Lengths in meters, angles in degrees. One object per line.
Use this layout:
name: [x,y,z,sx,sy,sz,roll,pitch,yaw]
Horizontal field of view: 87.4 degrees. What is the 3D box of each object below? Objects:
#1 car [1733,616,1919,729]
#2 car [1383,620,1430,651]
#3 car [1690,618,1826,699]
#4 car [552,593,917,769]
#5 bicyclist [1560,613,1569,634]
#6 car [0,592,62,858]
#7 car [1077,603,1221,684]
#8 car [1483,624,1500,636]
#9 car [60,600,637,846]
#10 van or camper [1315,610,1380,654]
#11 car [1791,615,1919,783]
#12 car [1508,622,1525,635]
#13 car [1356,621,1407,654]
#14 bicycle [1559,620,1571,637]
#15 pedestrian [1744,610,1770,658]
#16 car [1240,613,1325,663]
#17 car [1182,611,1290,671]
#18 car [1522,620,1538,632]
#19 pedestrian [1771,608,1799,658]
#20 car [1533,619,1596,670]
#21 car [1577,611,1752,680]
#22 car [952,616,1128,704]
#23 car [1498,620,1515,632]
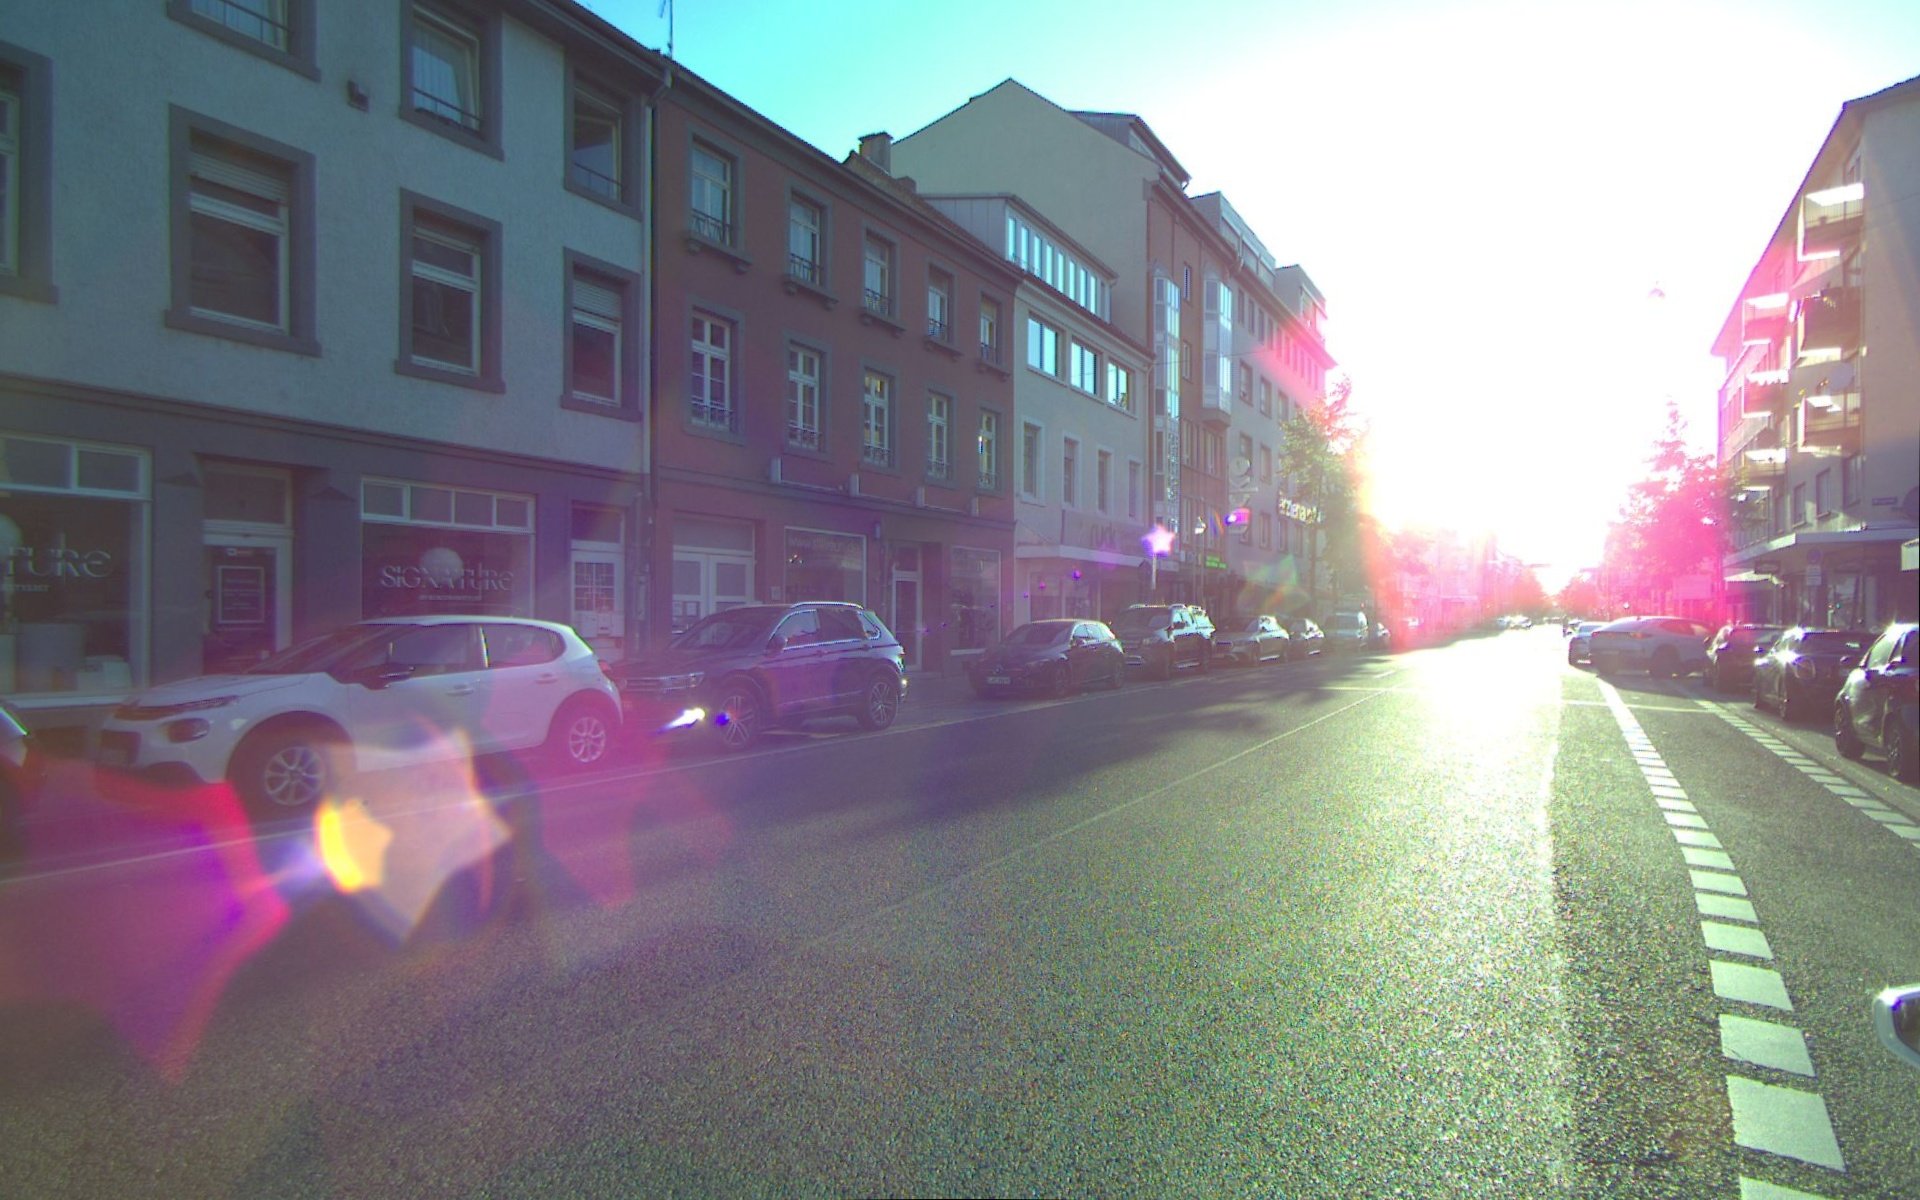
car: [13.944,1.058,16.230,1.763,1.601,3.780,0,-1,29]
car: [23.317,1.825,52.399,1.666,1.523,3.777,0,-1,33]
car: [17.531,1.203,22.239,1.763,1.601,3.780,0,-1,29]
car: [-2.481,0.855,12.219,1.768,1.720,4.451,-2,-2,30]
bicyclist: [46.922,1.848,78.010,0.539,1.601,0.800,-1,-1,34]
car: [-7.158,0.747,5.246,1.505,1.590,3.413,-2,-2,33]
car: [4.886,1.033,25.234,1.964,1.800,5.310,-1,-1,29]
car: [68.024,3.856,128.498,1.666,1.523,3.777,0,-1,33]
car: [-4.908,0.851,8.632,1.638,1.594,3.925,-2,-2,32]
van or camper: [16.991,1.346,43.903,1.763,1.797,4.546,0,-1,33]
car: [10.659,0.967,10.949,1.763,1.601,3.960,0,-1,29]
car: [70.542,3.592,127.267,1.666,1.523,3.777,0,-1,33]
car: [20.311,1.772,48.338,1.666,1.523,3.777,0,-1,33]
bicycle: [46.965,2.228,78.007,0.654,1.259,2.123,2,0,34]
pedestrian: [30.822,1.312,38.857,0.708,1.815,0.665,-1,-1,32]
car: [11.549,1.304,35.812,1.965,1.677,4.471,0,-1,30]
car: [8.504,1.193,30.674,1.965,1.677,4.617,-1,-1,32]
car: [75.732,3.488,133.423,1.666,1.523,3.777,0,-1,33]
pedestrian: [30.411,1.214,37.024,0.708,1.815,0.665,-1,-1,32]
car: [20.504,1.454,34.005,1.666,1.523,3.777,2,0,33]
car: [19.347,1.247,27.589,4.257,1.720,1.869,2,0,-21]
car: [1.701,1.111,19.730,1.661,1.507,4.402,-3,-2,30]
car: [73.825,3.520,135.646,1.666,1.523,3.777,0,-1,33]
